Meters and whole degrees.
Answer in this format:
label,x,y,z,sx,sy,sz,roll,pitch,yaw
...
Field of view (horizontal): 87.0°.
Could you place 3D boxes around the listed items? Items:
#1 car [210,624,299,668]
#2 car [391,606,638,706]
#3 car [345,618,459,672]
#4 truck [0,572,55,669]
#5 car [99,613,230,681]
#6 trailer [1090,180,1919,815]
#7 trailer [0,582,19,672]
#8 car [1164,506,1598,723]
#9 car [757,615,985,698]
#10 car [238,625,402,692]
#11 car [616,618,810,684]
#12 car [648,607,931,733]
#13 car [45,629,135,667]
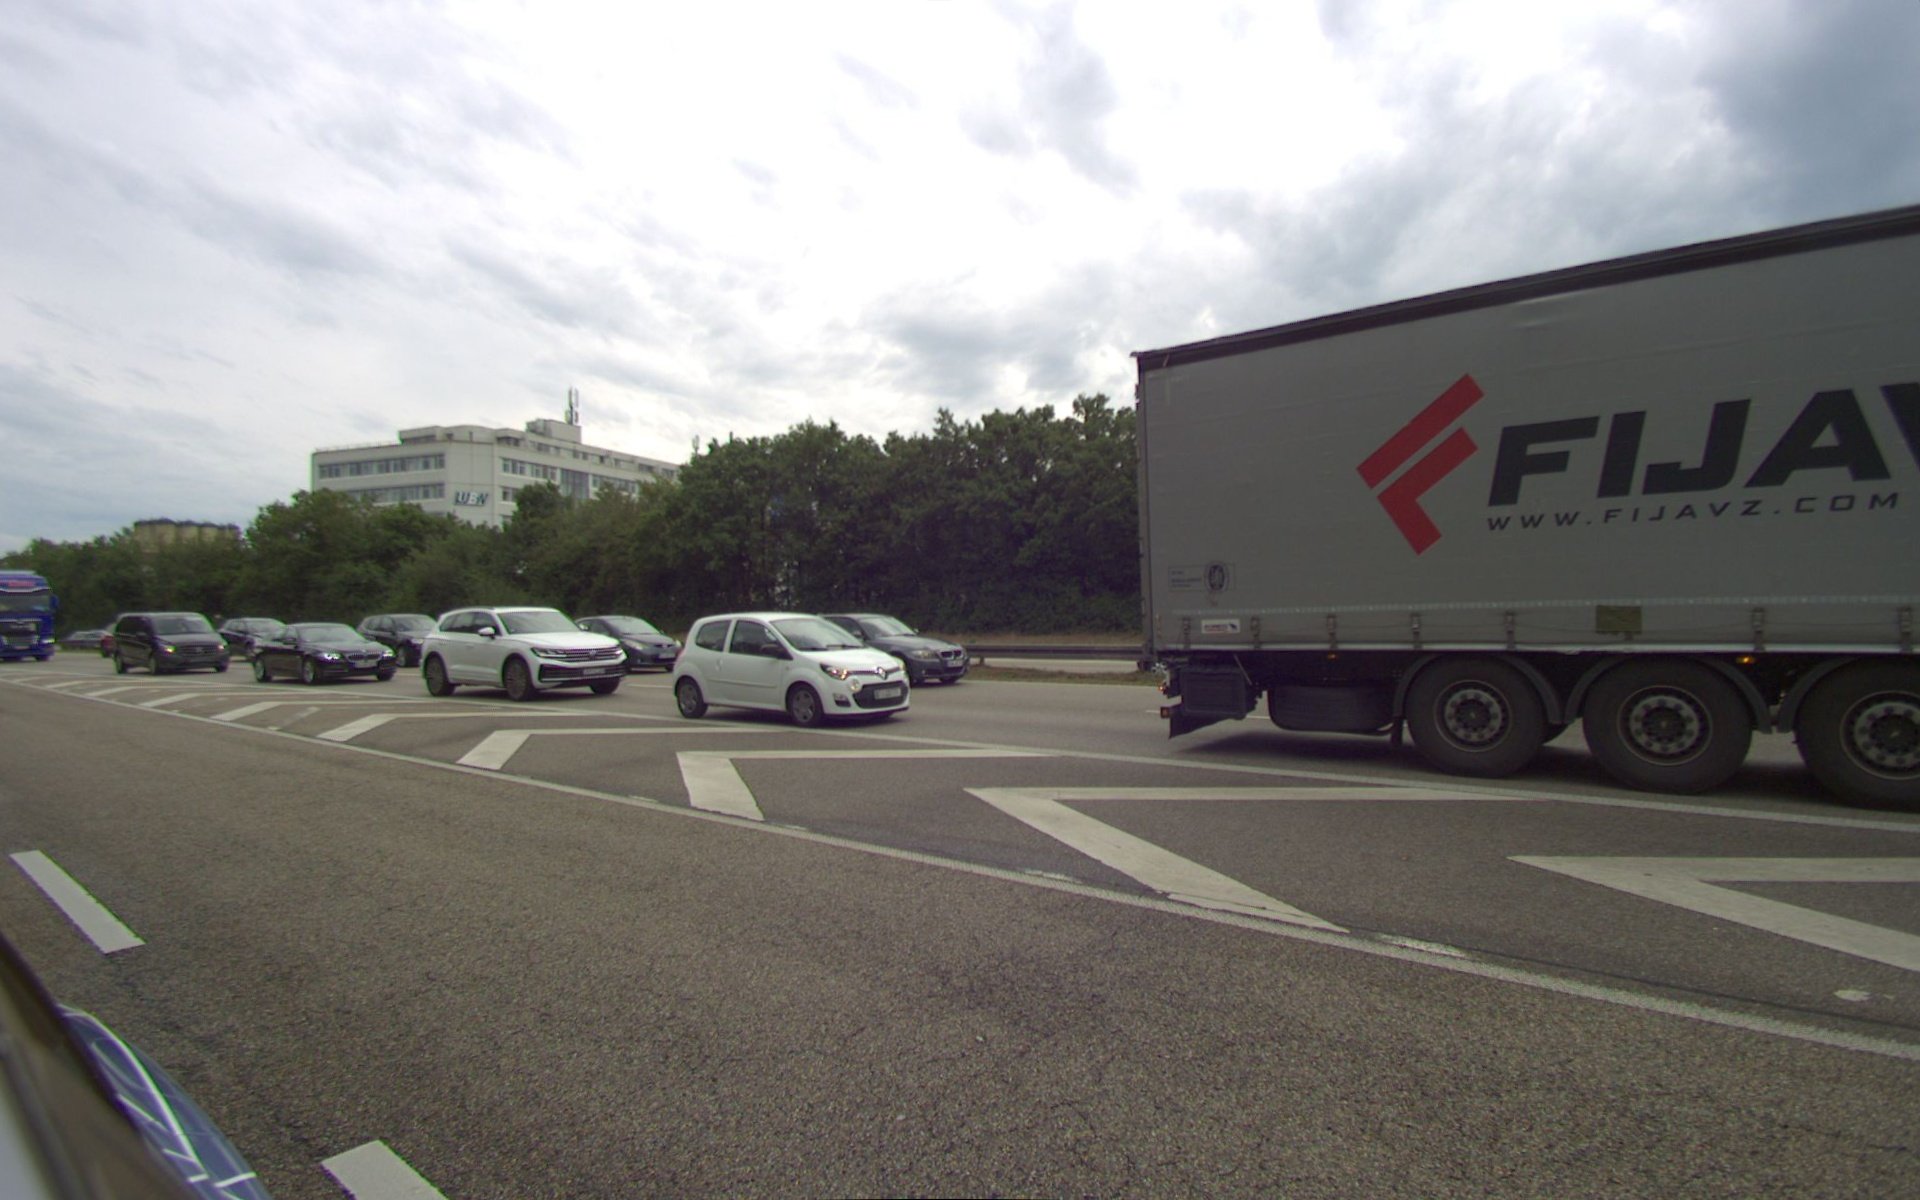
label,x,y,z,sx,sy,sz,roll,pitch,yaw
car,-27.482,1.772,39.387,3.992,1.586,1.671,-2,-2,36
car,-8.584,1.009,19.275,5.369,1.673,1.893,-2,-2,36
car,-17.976,1.450,32.553,3.990,1.624,1.631,-2,-2,35
truck,-43.087,0.918,44.842,6.563,4.073,2.543,-1,0,30
car,-25.036,1.467,31.789,5.070,1.920,1.975,-2,0,37
trailer,7.470,-0.678,7.509,13.080,4.066,3.267,-1,0,38
trailer,-49.337,1.334,48.611,13.417,4.053,2.607,-1,0,32
car,5.821,0.241,14.441,5.353,2.573,1.975,-2,-2,37
car,-1.876,1.070,20.386,4.695,1.459,1.697,-1,0,38
car,-16.059,1.394,25.313,4.822,1.471,1.831,-1,0,36
car,-6.037,1.200,24.431,4.799,1.425,1.975,-2,-2,37
car,-2.441,0.898,13.940,4.031,1.502,1.562,-2,-2,39
car,-39.935,2.197,46.407,4.775,1.631,1.977,-2,-2,34
